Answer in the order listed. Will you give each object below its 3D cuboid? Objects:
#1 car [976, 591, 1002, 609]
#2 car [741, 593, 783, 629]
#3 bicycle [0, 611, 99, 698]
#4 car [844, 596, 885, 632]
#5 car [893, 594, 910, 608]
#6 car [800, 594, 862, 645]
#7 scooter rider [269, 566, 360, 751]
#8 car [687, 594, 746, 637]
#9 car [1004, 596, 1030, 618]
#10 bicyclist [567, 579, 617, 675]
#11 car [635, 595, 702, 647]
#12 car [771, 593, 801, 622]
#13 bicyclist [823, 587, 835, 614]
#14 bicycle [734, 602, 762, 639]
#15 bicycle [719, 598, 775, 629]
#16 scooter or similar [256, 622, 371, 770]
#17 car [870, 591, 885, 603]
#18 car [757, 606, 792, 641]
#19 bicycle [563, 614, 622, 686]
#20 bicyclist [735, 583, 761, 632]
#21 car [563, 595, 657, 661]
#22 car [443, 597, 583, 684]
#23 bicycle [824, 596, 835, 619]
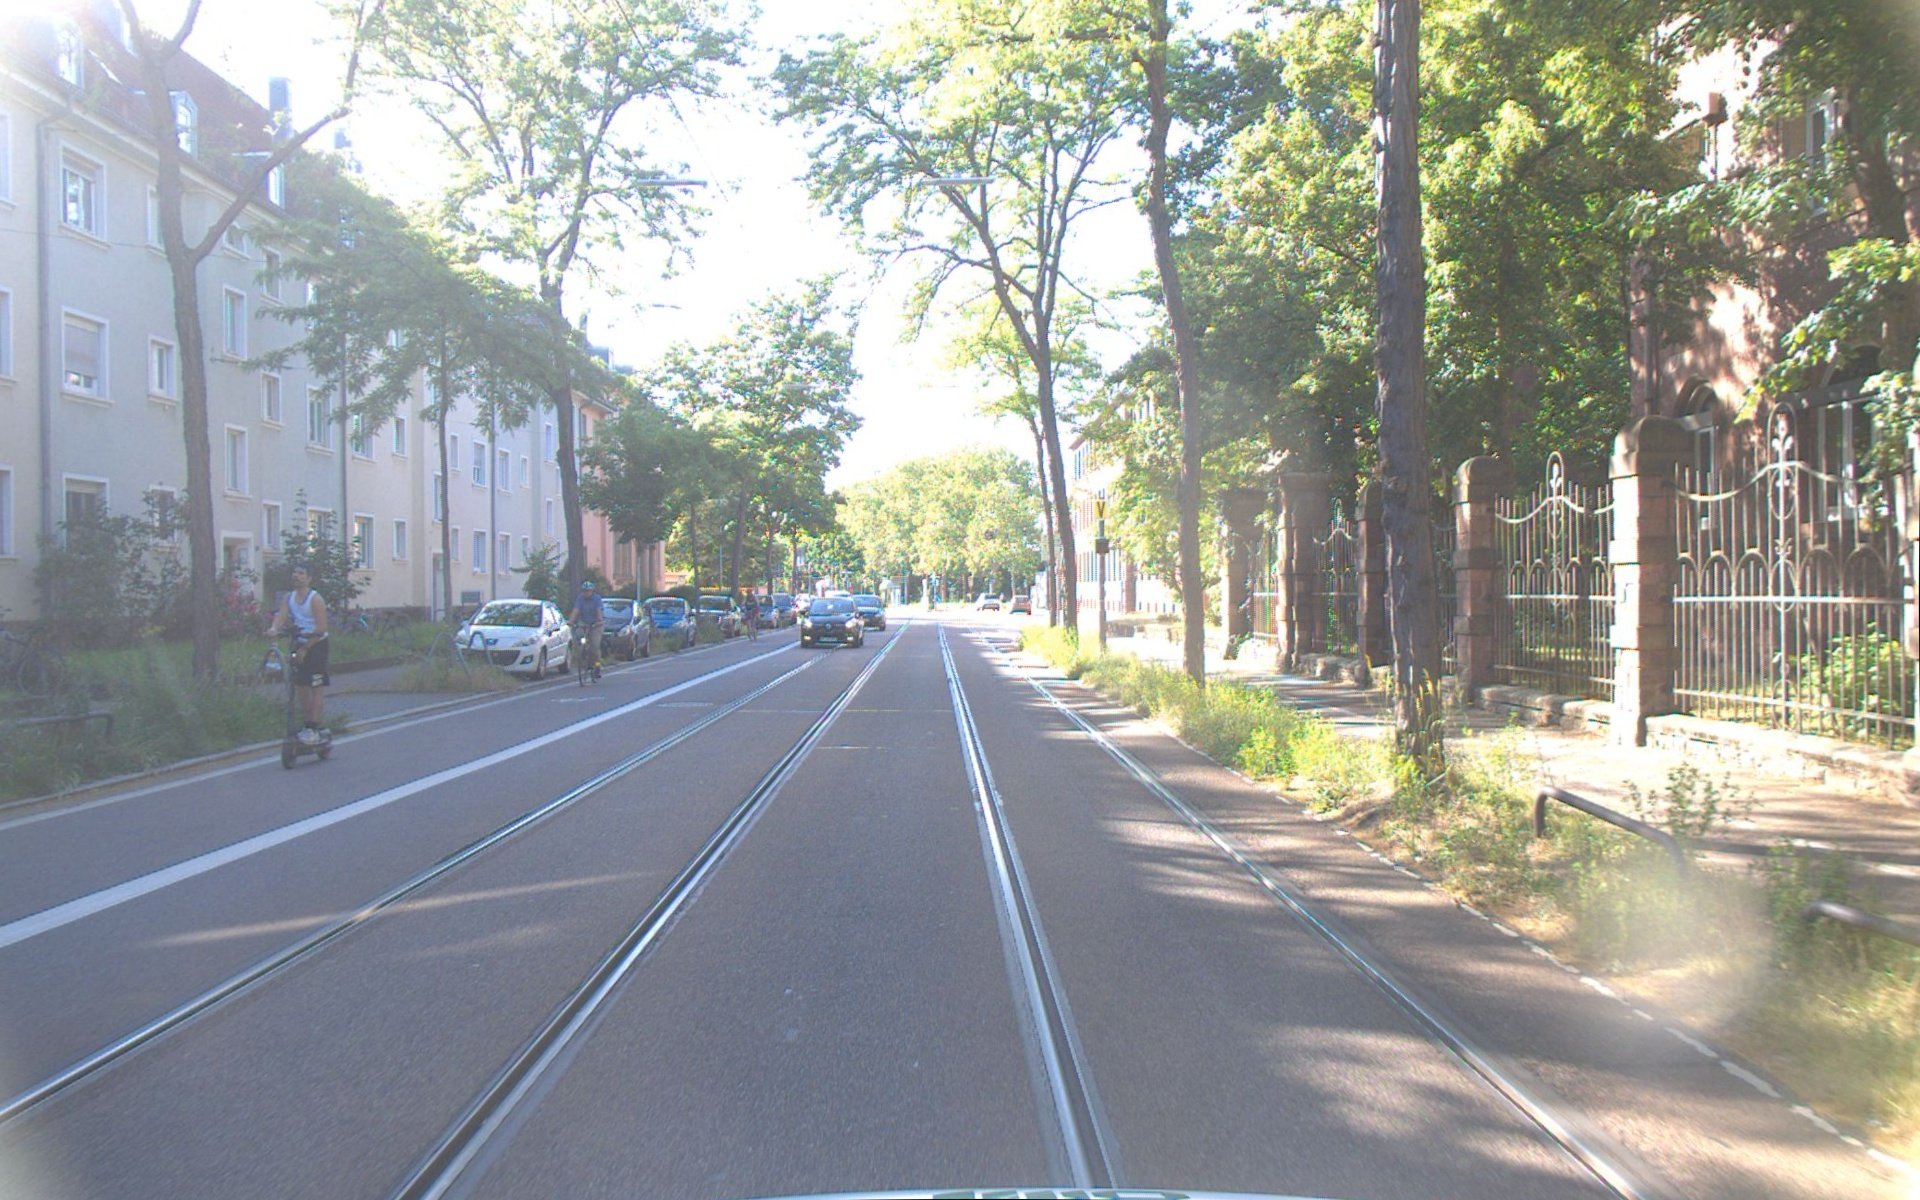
[{"bbox_3d":[2.600,0.013,150.857,1.905,1.638,3.995,0,0,-6],"label":"car"},{"bbox_3d":[-9.462,0.518,79.405,1.711,1.597,4.067,2,0,-4],"label":"car"},{"bbox_3d":[-13.386,0.765,23.603,1.869,1.198,0.521,1,0,-4],"label":"bicycle"},{"bbox_3d":[-4.073,0.581,71.120,1.665,1.497,4.070,0,0,-2],"label":"car"},{"bbox_3d":[-7.413,0.119,209.643,1.905,1.638,3.995,0,0,-6],"label":"car"},{"bbox_3d":[-3.808,0.549,49.243,1.665,1.464,4.070,0,0,-2],"label":"car"},{"bbox_3d":[-6.257,0.551,16.060,0.486,1.729,0.786,-4,0,-1],"label":"scooter rider"},{"bbox_3d":[-9.197,0.565,62.798,1.710,1.516,4.322,2,0,-2],"label":"car"},{"bbox_3d":[4.515,0.528,131.081,1.802,1.684,3.577,0,0,-3],"label":"car"},{"bbox_3d":[-6.612,0.478,29.771,0.613,1.667,0.940,-3,0,-1],"label":"bicyclist"},{"bbox_3d":[-8.956,0.629,51.107,1.529,1.482,3.928,2,0,-3],"label":"car"},{"bbox_3d":[-9.757,0.390,92.811,1.551,1.514,3.609,2,0,-5],"label":"car"},{"bbox_3d":[-7.408,0.046,93.544,0.547,1.482,0.869,-4,0,-4],"label":"bicyclist"},{"bbox_3d":[-7.295,0.701,57.023,0.680,1.198,1.913,-3,0,-1],"label":"bicycle"},{"bbox_3d":[-8.985,0.554,69.722,2.236,1.219,0.560,2,1,6],"label":"bicycle"},{"bbox_3d":[-6.250,0.903,16.051,0.510,1.320,1.377,-4,0,-1],"label":"scooter or similar"},{"bbox_3d":[-11.233,-0.457,225.012,1.905,1.638,3.995,0,0,-6],"label":"car"},{"bbox_3d":[-9.777,1.213,87.438,1.711,1.689,4.386,2,0,-5],"label":"car"},{"bbox_3d":[-6.600,0.882,29.785,0.614,1.198,1.913,-3,0,-1],"label":"bicycle"},{"bbox_3d":[-7.310,0.267,57.032,0.695,1.635,0.865,-3,0,-1],"label":"bicyclist"},{"bbox_3d":[-8.766,0.669,41.703,1.653,1.511,3.758,2,0,-2],"label":"car"},{"bbox_3d":[-8.705,0.741,32.519,1.668,1.511,4.078,2,0,-1],"label":"car"},{"bbox_3d":[-7.373,0.425,93.435,0.547,1.219,2.290,-4,0,-4],"label":"bicycle"}]
